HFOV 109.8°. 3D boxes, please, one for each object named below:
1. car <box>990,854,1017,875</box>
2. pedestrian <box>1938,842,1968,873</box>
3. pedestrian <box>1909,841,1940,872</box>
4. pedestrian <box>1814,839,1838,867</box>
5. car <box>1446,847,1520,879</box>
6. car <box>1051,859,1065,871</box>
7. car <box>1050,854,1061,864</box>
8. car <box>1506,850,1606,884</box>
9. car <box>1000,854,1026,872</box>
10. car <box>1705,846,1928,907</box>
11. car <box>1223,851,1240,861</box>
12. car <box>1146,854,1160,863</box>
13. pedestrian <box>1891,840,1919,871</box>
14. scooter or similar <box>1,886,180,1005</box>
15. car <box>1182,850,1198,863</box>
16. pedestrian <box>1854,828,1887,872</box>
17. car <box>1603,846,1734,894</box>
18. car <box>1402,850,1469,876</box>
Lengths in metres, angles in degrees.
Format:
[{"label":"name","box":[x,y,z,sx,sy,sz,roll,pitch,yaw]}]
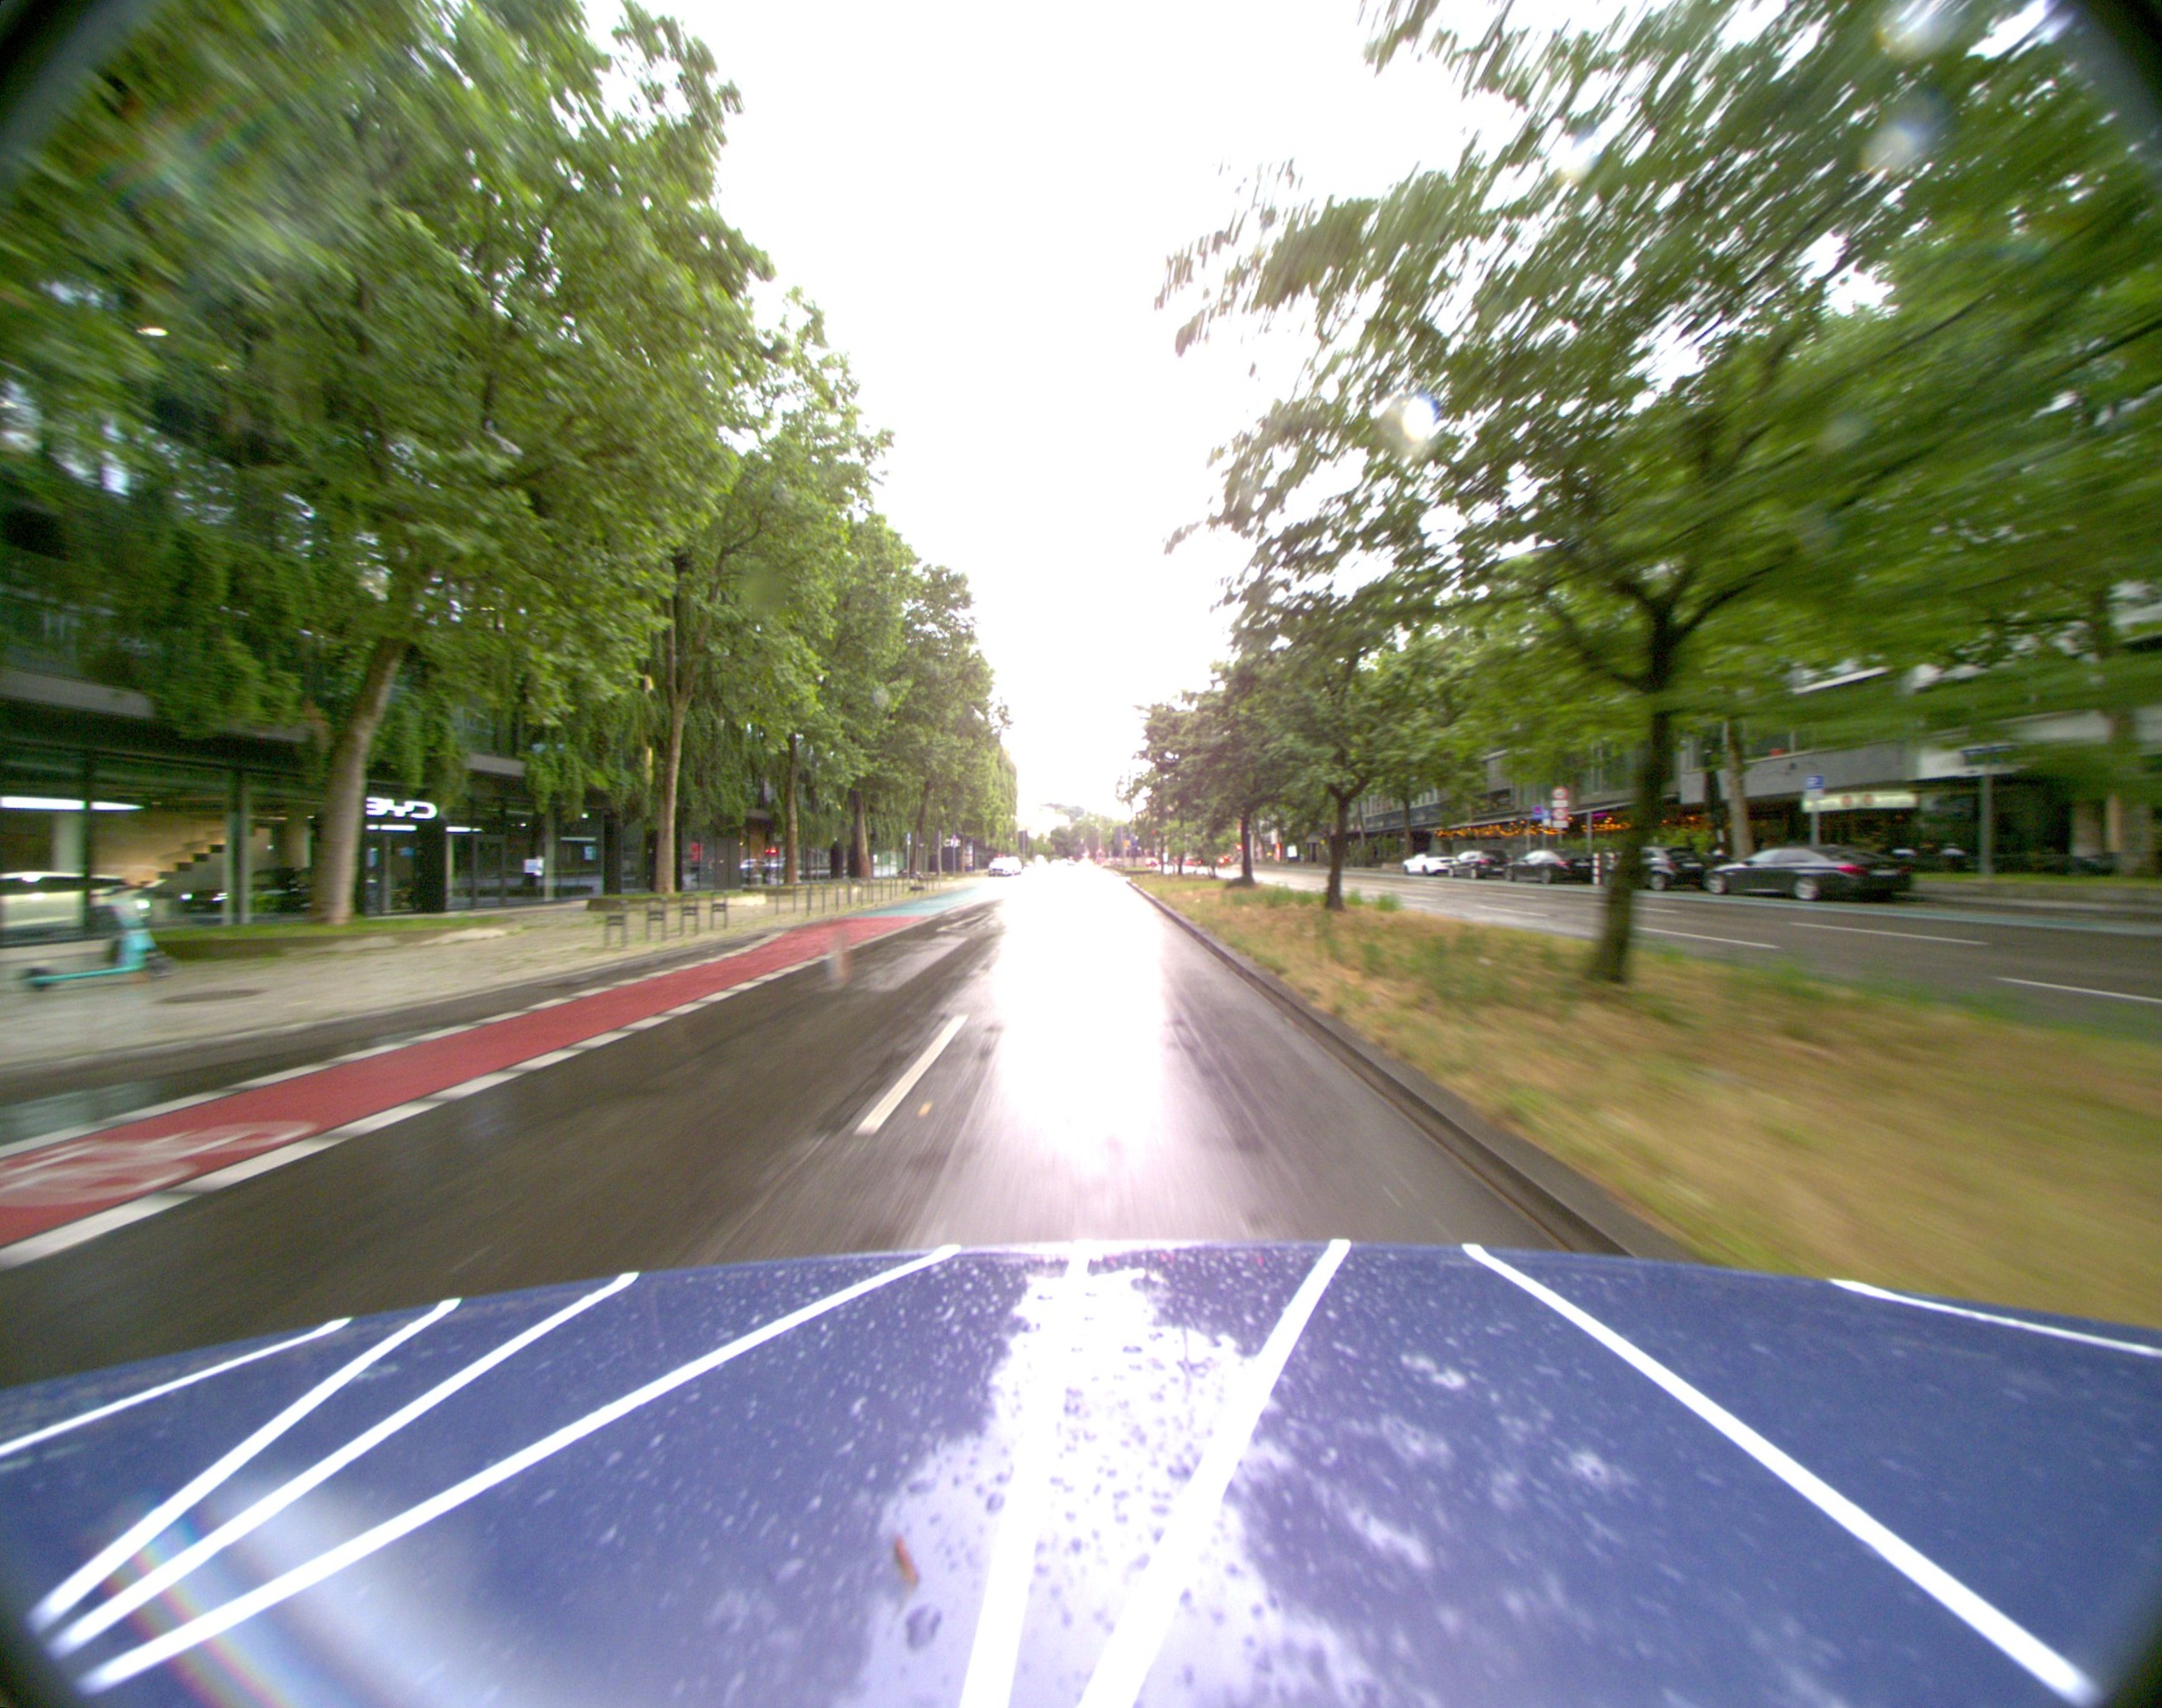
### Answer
[{"label":"car","box":[-7.169,0.928,70.803,1.932,1.726,4.598,-2,1,0]},{"label":"pedestrian","box":[27.701,0.109,24.141,0.458,0.958,0.453,-3,1,-15]},{"label":"pedestrian","box":[27.516,0.078,24.791,0.486,0.995,0.490,-3,1,-15]},{"label":"pedestrian","box":[27.559,-0.025,28.103,0.464,1.010,0.424,-2,1,-2]},{"label":"car","box":[20.142,0.418,38.204,1.750,1.445,3.788,-2,1,1]},{"label":"car","box":[-3.161,1.511,103.987,1.780,1.546,3.929,-2,1,0]},{"label":"car","box":[-4.275,0.792,126.626,1.557,1.534,3.663,-2,1,0]},{"label":"car","box":[19.971,0.509,32.169,1.647,1.232,4.318,-2,1,2]},{"label":"car","box":[-6.846,0.888,76.879,2.036,1.553,4.584,-2,1,2]},{"label":"car","box":[19.772,0.521,20.768,1.875,1.377,4.537,-2,1,4]},{"label":"car","box":[22.360,0.230,113.018,1.765,1.318,3.738,-2,1,1]},{"label":"car","box":[11.201,0.678,119.075,1.678,1.381,3.527,-2,1,-2]},{"label":"pedestrian","box":[27.440,0.055,25.311,0.459,0.987,0.463,-3,1,-15]},{"label":"scooter or similar","box":[-11.999,1.070,9.258,1.187,1.275,0.535,-3,1,-40]},{"label":"car","box":[17.437,0.383,121.670,1.938,1.776,3.954,-2,1,1]},{"label":"pedestrian","box":[30.452,-0.149,29.316,0.606,1.638,0.623,-2,1,-4]},{"label":"car","box":[19.944,0.493,25.969,1.875,1.414,3.400,-2,1,1]},{"label":"car","box":[20.374,0.467,43.845,1.881,1.318,4.392,-2,1,1]}]
